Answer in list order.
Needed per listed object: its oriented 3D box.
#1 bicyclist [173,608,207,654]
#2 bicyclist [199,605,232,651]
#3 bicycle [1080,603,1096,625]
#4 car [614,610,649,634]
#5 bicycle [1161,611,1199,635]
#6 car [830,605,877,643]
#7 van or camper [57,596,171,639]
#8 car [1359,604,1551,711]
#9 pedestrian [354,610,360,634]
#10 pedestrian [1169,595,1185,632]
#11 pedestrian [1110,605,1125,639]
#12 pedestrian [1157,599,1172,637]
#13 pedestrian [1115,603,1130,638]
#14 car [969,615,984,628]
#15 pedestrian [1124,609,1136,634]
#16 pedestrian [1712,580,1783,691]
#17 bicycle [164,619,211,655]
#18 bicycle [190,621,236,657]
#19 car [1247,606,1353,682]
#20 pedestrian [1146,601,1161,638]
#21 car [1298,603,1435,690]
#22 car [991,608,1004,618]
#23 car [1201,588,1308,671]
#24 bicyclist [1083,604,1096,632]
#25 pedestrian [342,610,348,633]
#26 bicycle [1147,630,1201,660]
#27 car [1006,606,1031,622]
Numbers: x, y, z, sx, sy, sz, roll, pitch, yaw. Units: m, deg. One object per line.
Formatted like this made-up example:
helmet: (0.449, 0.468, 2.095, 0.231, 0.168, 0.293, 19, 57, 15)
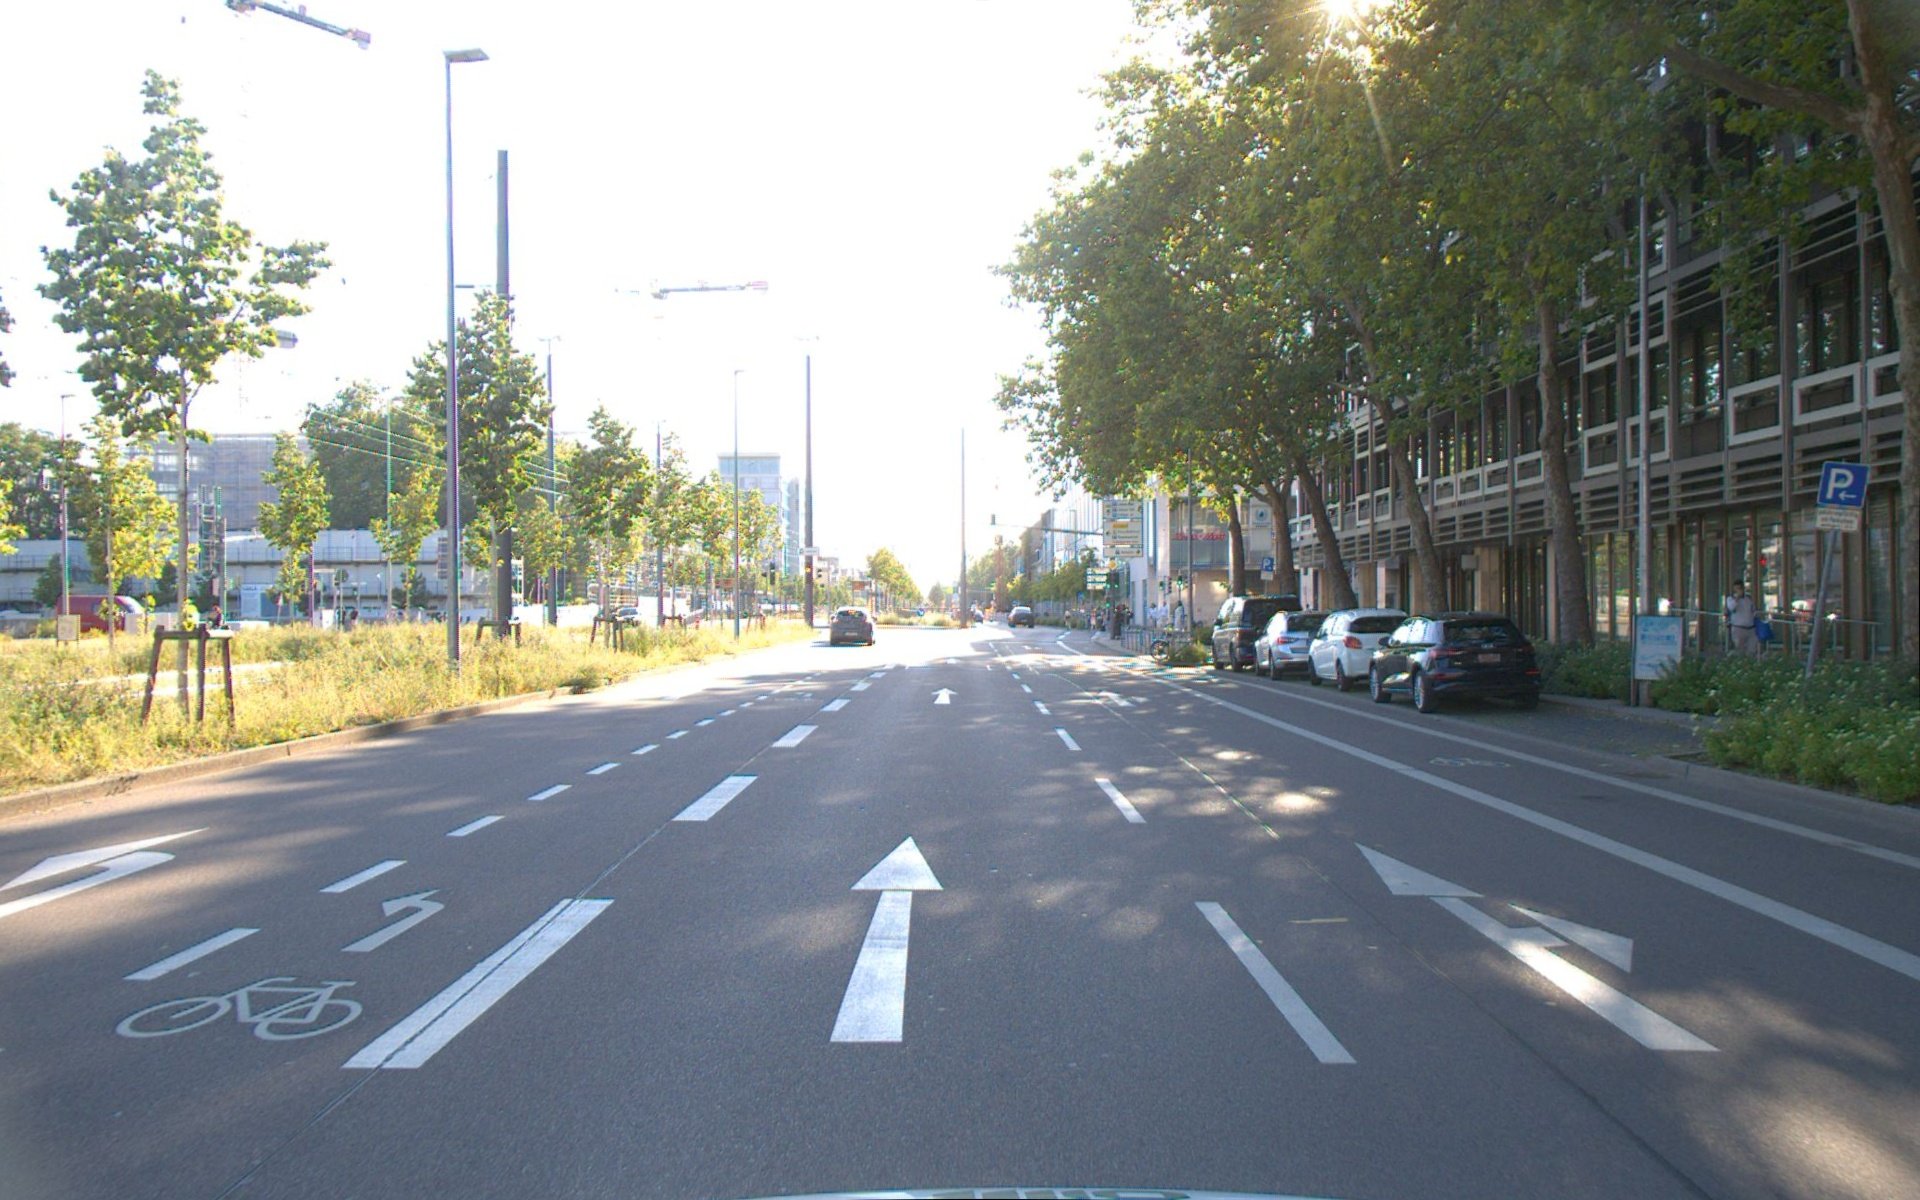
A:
bicyclist: (-25.058, 0.999, 53.833, 0.571, 1.467, 1.075, 0, 0, 0)
bicyclist: (-24.298, 0.905, 54.003, 0.571, 1.467, 1.075, 0, 0, 0)
bicycle: (7.492, 0.804, 96.476, 0.782, 1.225, 2.266, 0, 0, 8)
car: (-25.617, 1.671, 129.192, 1.953, 1.807, 3.999, 0, 0, -1)
bicycle: (10.695, 1.123, 80.421, 1.766, 1.105, 0.479, -2, 0, 1)
car: (-4.192, 0.929, 65.720, 1.741, 1.453, 3.998, 1, 0, -2)
van or camper: (-49.419, 1.029, 96.672, 5.543, 2.456, 2.155, 0, 0, 1)
car: (7.587, 0.827, 25.748, 1.671, 1.443, 4.276, -3, 0, 0)
pedestrian: (-38.311, 1.385, 105.061, 0.268, 1.490, 0.315, 0, -1, -10)
pedestrian: (10.416, 0.650, 79.332, 0.621, 1.732, 0.570, -2, 0, 0)
pedestrian: (7.720, 1.078, 80.867, 0.621, 1.636, 0.570, -2, 0, 0)
pedestrian: (11.540, 1.027, 93.245, 0.750, 2.096, 0.797, -2, 0, 6)
pedestrian: (8.011, 1.007, 81.554, 0.621, 1.732, 0.570, -2, 0, 0)
car: (2.032, 2.609, 203.651, 1.723, 1.511, 3.848, 0, 0, -2)
pedestrian: (12.179, 1.519, 118.795, 0.800, 1.765, 0.790, 0, 0, 3)
pedestrian: (13.647, 0.605, 28.689, 0.814, 1.888, 0.847, 0, -1, -1)
bicycle: (-25.078, 1.200, 53.730, 0.571, 1.124, 1.987, 0, 0, 0)
bicycle: (-24.310, 1.256, 53.863, 0.571, 1.124, 1.987, 0, 0, 0)
car: (7.683, 0.945, 37.792, 1.646, 1.541, 5.061, -3, 0, 4)
pedestrian: (11.011, 1.105, 94.154, 0.750, 2.096, 0.797, -2, 0, 6)
car: (7.783, 0.850, 31.965, 1.647, 1.504, 3.874, -3, 0, 0)
car: (5.643, 2.002, 247.293, 1.669, 1.453, 3.924, 0, 0, -2)
car: (7.752, 0.744, 43.990, 1.792, 2.005, 5.321, -3, 0, 0)
bicyclist: (7.569, 1.032, 96.642, 0.783, 1.630, 0.785, 0, 0, 4)
pedestrian: (-38.962, 1.362, 104.846, 0.268, 1.490, 0.279, 0, -1, 0)
bicycle: (6.720, 1.402, 51.931, 1.656, 0.882, 0.573, -2, -1, 8)
car: (5.161, 1.225, 145.885, 1.901, 1.453, 3.924, 0, 0, -2)
